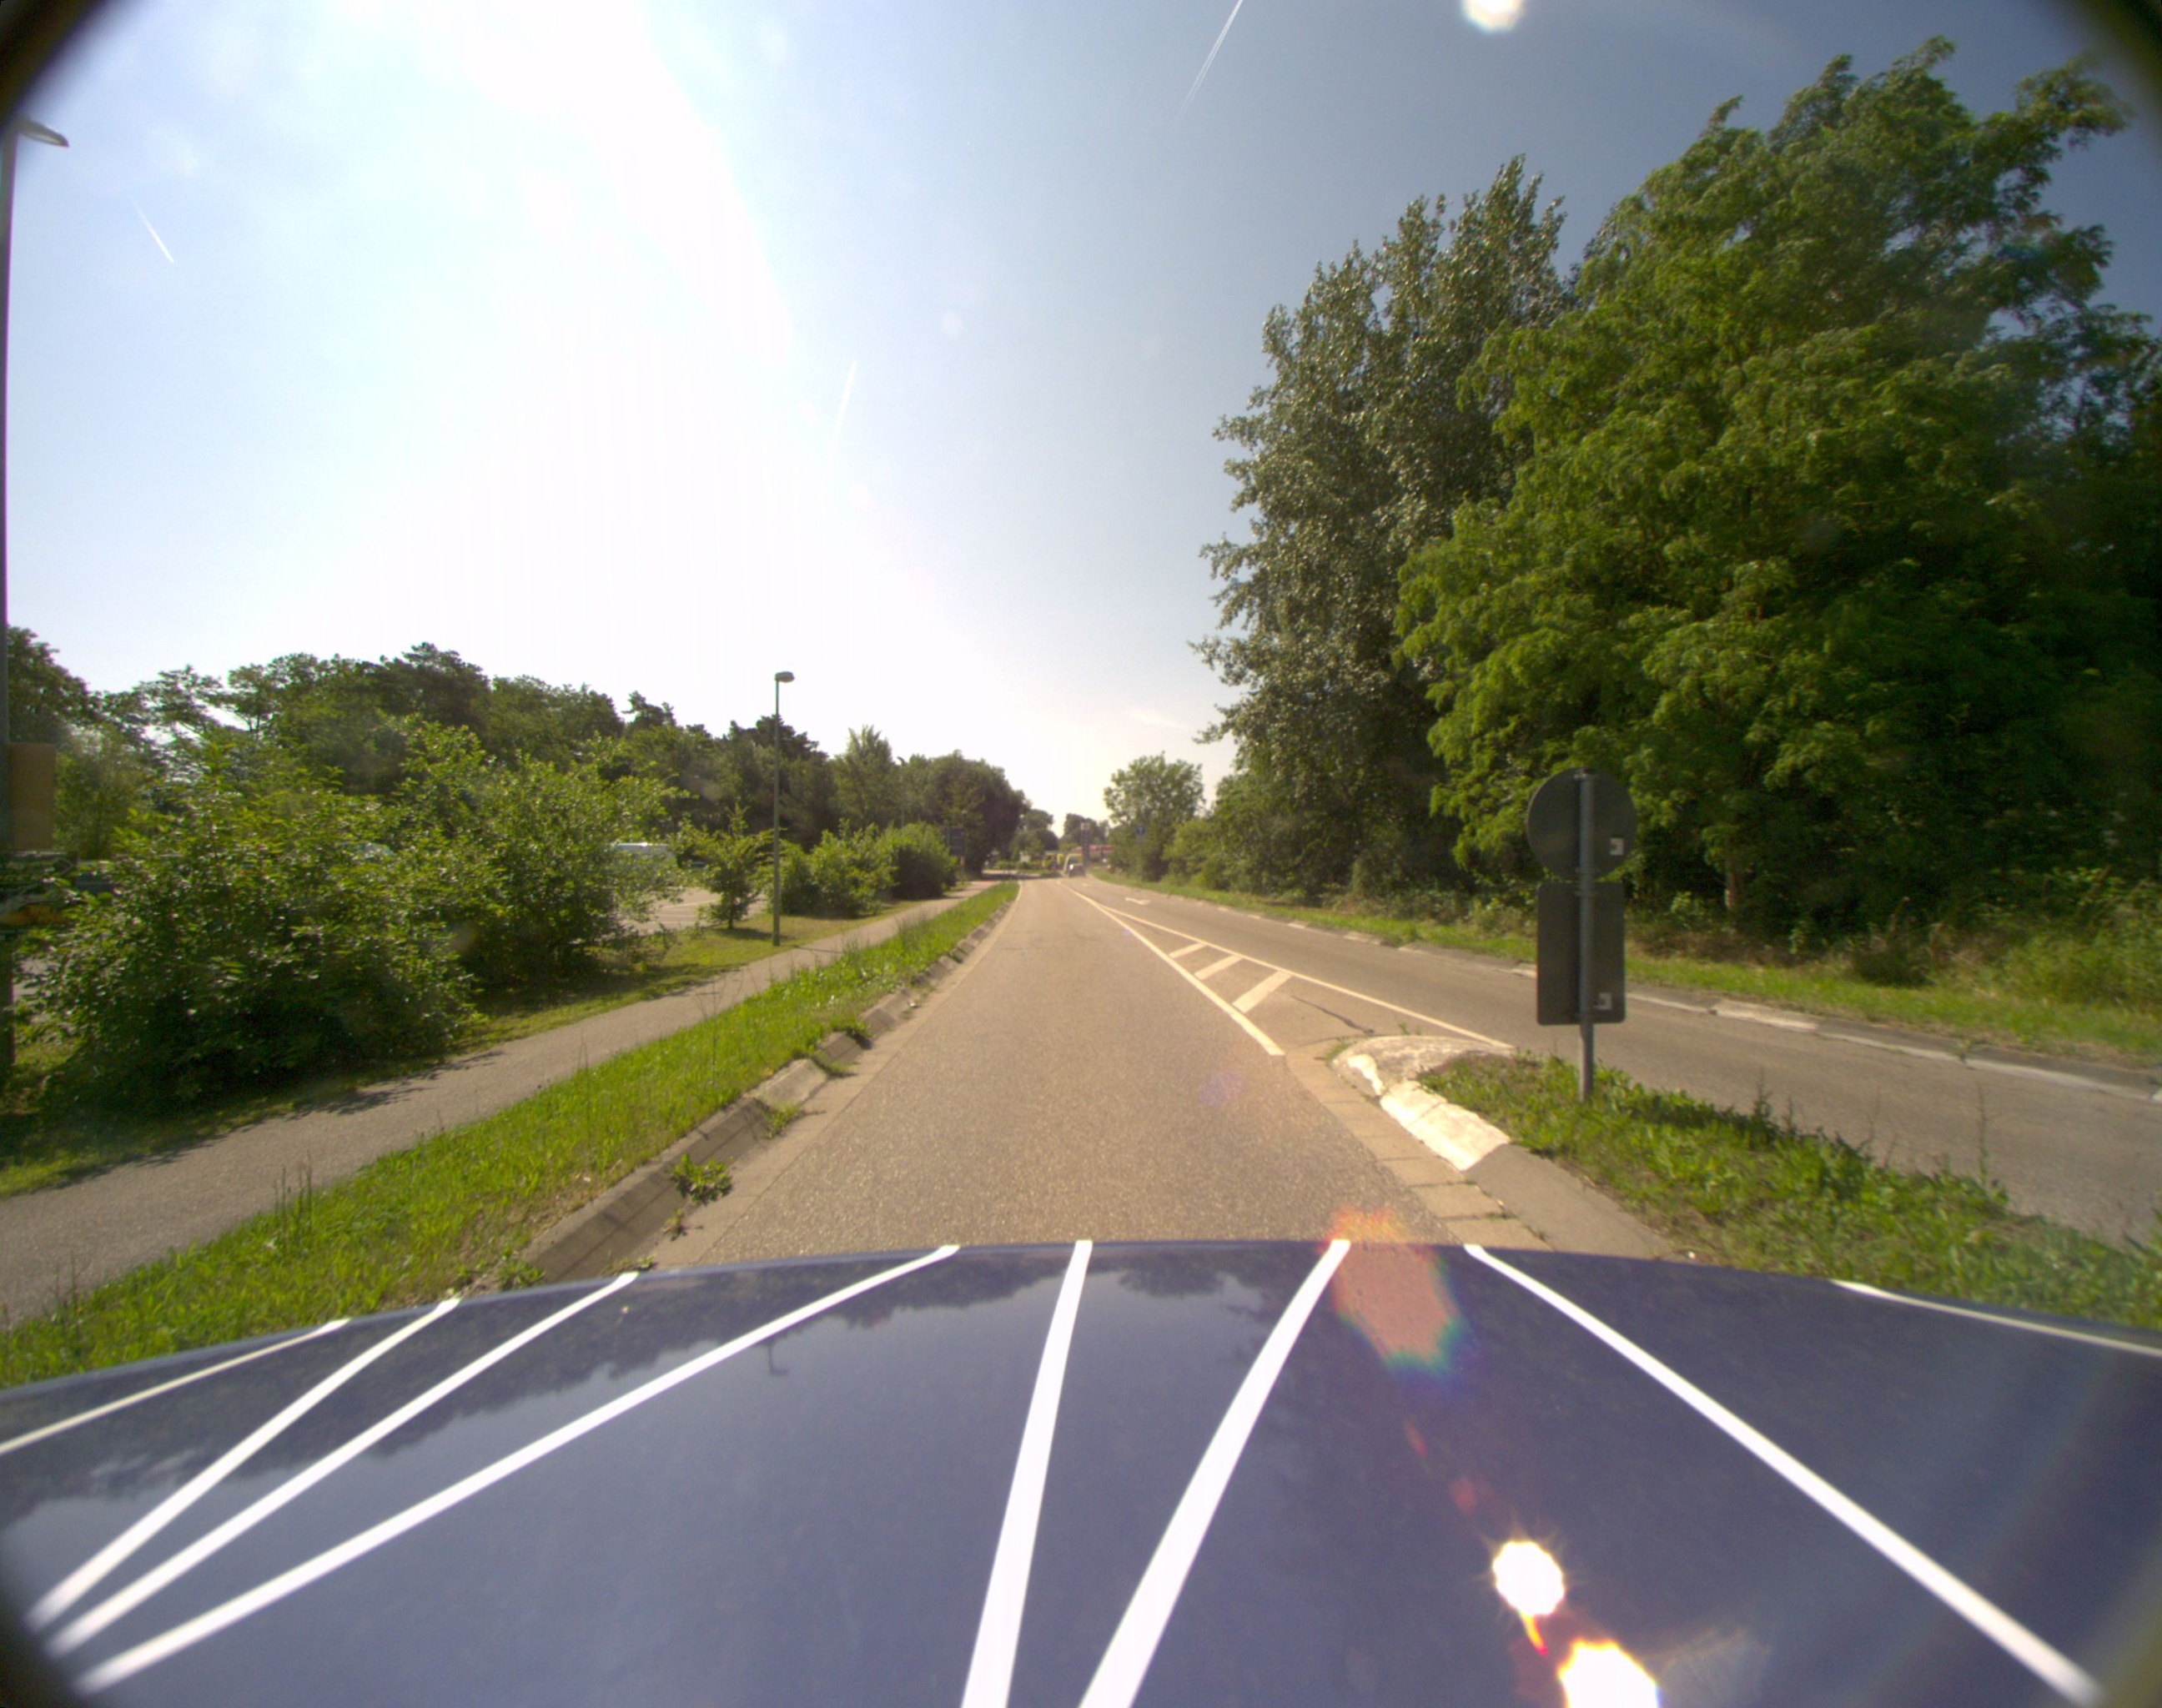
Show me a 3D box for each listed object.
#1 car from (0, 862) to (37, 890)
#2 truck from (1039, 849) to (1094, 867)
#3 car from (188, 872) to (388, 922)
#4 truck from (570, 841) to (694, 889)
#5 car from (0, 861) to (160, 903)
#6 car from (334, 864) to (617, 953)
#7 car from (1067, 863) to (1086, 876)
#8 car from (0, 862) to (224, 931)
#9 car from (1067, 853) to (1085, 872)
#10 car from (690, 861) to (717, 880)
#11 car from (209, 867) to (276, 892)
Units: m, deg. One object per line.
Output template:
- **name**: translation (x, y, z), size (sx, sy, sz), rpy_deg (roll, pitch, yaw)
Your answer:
- **car**: translation (-64.077, 1.273, 44.585), size (1.799, 1.586, 4.250), rpy_deg (0, 0, -31)
- **truck**: translation (-2.929, 0.842, 146.968), size (10.338, 3.374, 3.883), rpy_deg (0, 0, -6)
- **car**: translation (-24.419, 1.307, 23.546), size (4.001, 1.419, 1.748), rpy_deg (0, 0, -10)
- **truck**: translation (-25.135, 0.626, 42.709), size (5.615, 2.590, 2.202), rpy_deg (0, 0, -4)
- **car**: translation (-40.238, 1.086, 30.309), size (4.005, 1.575, 1.966), rpy_deg (0, 0, -25)
- **car**: translation (-11.807, 1.036, 15.045), size (4.130, 1.618, 1.752), rpy_deg (1, 0, -3)
- **car**: translation (-0.521, 1.636, 81.724), size (1.703, 1.381, 4.292), rpy_deg (0, 0, -4)
- **car**: translation (-24.445, 1.002, 18.695), size (4.165, 1.564, 1.999), rpy_deg (-1, 0, -6)
- **car**: translation (-0.700, 1.064, 98.630), size (1.917, 2.386, 4.908), rpy_deg (0, 0, -5)
- **car**: translation (-31.989, 1.360, 64.311), size (1.763, 1.521, 4.363), rpy_deg (0, 0, -31)
- **car**: translation (-55.471, 1.654, 50.357), size (1.665, 1.477, 4.363), rpy_deg (0, 0, -29)
